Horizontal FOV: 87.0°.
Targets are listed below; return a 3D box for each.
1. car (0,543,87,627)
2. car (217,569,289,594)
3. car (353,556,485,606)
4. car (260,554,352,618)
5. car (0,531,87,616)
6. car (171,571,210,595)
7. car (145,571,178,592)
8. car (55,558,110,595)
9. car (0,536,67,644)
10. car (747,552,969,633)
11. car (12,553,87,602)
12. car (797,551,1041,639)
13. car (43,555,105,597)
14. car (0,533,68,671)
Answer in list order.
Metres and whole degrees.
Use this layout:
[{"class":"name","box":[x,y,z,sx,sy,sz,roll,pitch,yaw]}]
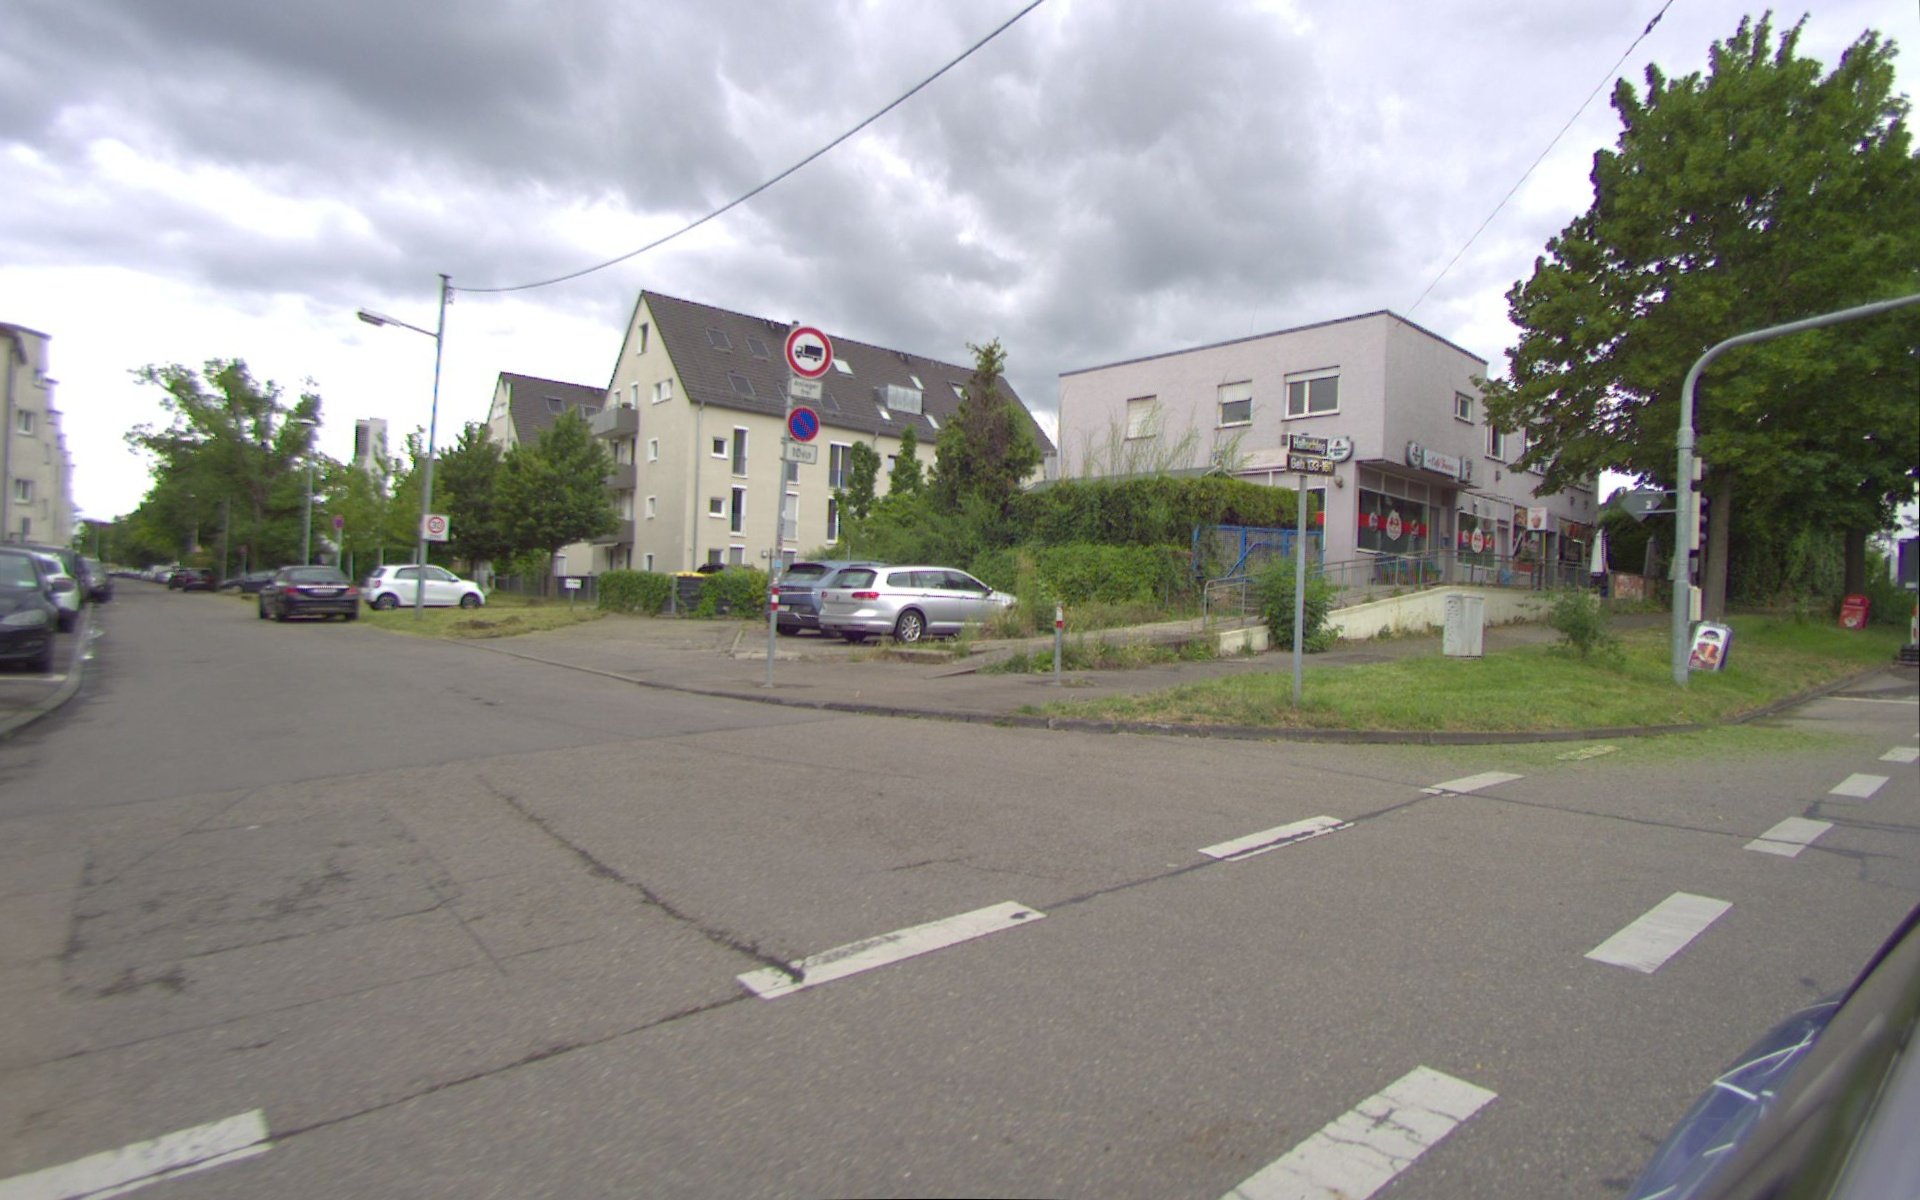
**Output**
[{"class":"car","box":[-18.307,-0.291,19.792,1.711,1.479,3.995,3,-2,-40]},{"class":"car","box":[-43.958,-1.136,62.937,3.619,1.552,1.582,-1,1,-39]},{"class":"car","box":[-17.795,-0.606,33.364,3.619,1.552,1.582,-1,1,-39]},{"class":"car","box":[-17.155,-0.361,26.495,1.610,1.552,3.681,0,1,-40]},{"class":"car","box":[-21.758,-0.581,23.730,1.710,1.809,3.996,3,-2,-38]},{"class":"car","box":[-51.647,-1.136,67.904,1.712,1.479,3.993,3,-2,-41]},{"class":"car","box":[-60.596,-1.383,76.735,1.712,1.479,3.993,3,-2,-41]},{"class":"car","box":[-38.782,-0.995,44.722,1.712,1.479,3.993,3,-2,-41]},{"class":"car","box":[-15.253,-0.175,15.763,1.710,1.541,3.996,3,-2,-38]},{"class":"car","box":[-2.109,-0.176,21.856,4.535,1.552,1.995,-1,1,-43]},{"class":"car","box":[-30.345,-0.729,33.809,1.712,1.479,3.993,3,-2,-41]},{"class":"car","box":[-0.687,-0.115,19.536,4.535,1.482,1.995,-1,1,-43]},{"class":"car","box":[-35.163,-0.924,40.192,1.712,1.479,3.993,3,-2,-41]},{"class":"car","box":[-11.913,-0.029,12.120,1.693,1.474,3.879,6,-4,-41]}]
